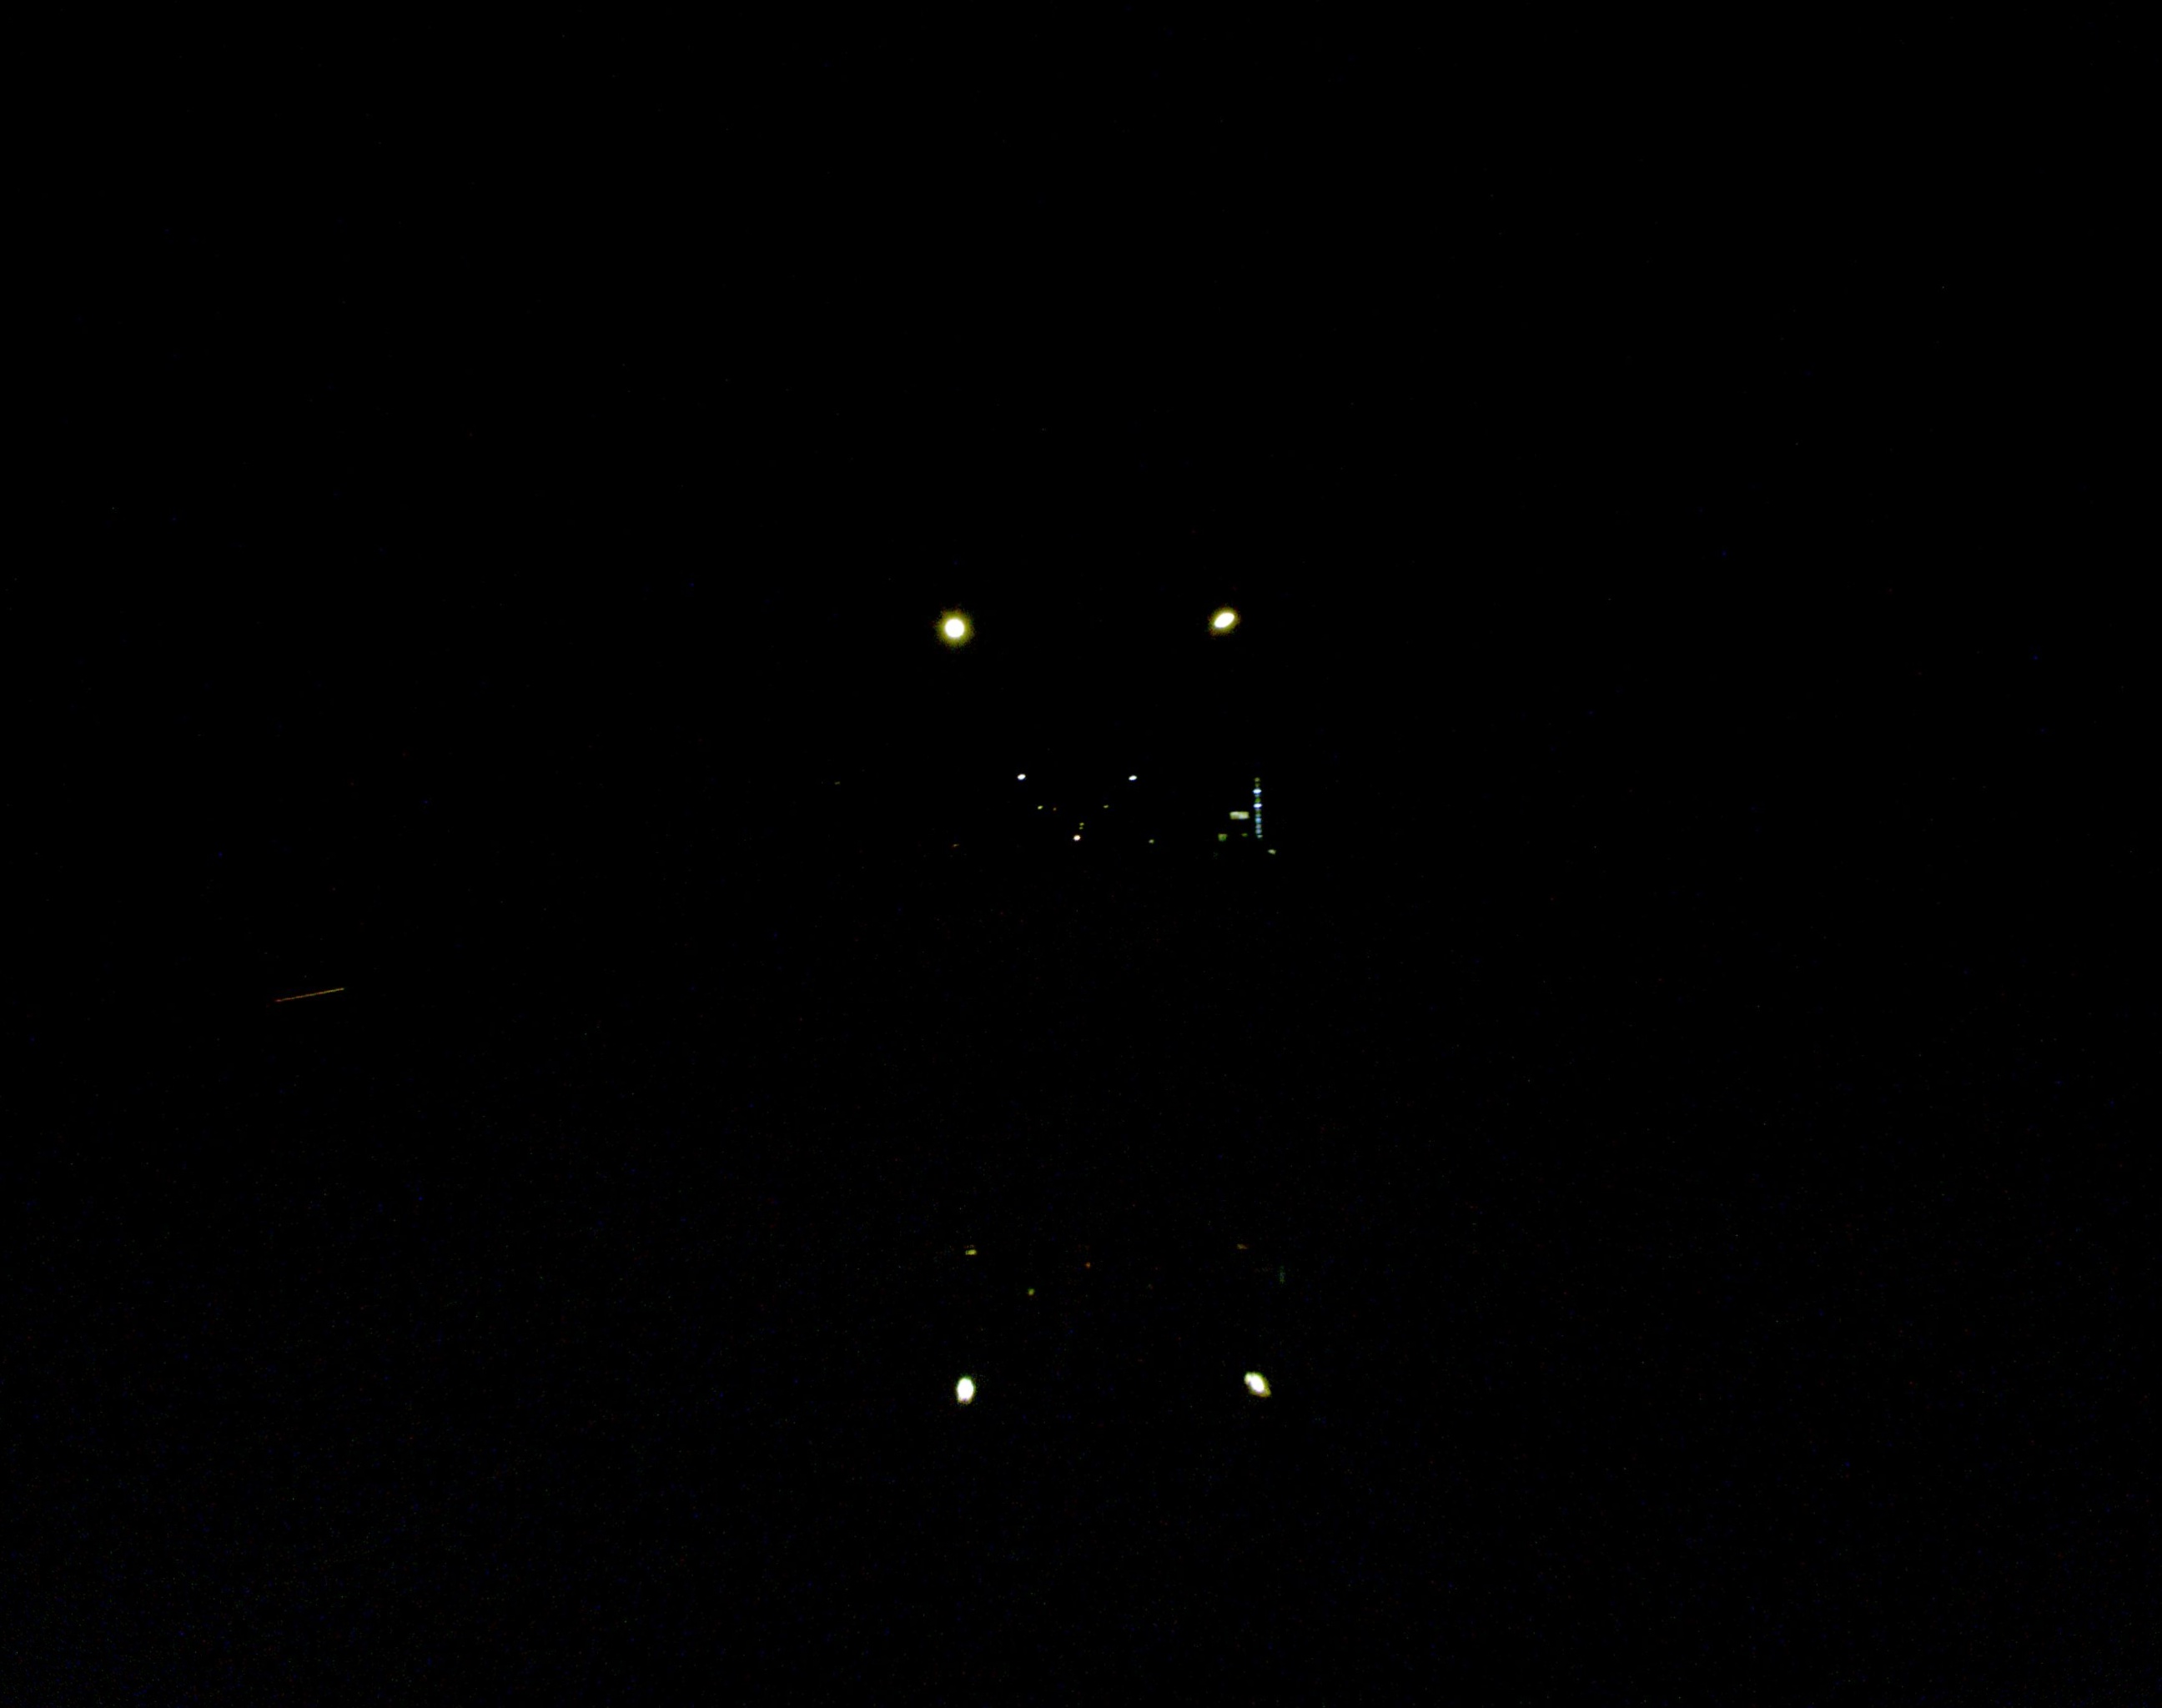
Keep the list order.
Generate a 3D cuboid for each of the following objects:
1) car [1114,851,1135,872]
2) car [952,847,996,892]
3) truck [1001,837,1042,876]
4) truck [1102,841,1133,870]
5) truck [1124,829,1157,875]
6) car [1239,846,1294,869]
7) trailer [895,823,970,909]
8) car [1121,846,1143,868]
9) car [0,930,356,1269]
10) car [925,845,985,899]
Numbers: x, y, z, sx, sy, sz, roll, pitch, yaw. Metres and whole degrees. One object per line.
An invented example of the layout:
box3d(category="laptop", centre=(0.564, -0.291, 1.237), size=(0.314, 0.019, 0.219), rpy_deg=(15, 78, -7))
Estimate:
box3d(category="car", centre=(5.464, 0.961, 96.148), size=(1.999, 2.429, 5.743), rpy_deg=(-4, 0, -2))
box3d(category="car", centre=(-6.680, 0.886, 48.029), size=(1.999, 2.533, 6.023), rpy_deg=(-4, 0, -3))
box3d(category="truck", centre=(-6.520, 0.194, 85.245), size=(2.515, 3.815, 12.660), rpy_deg=(-4, 0, 4))
box3d(category="truck", centre=(4.992, 0.237, 105.252), size=(2.829, 3.610, 10.396), rpy_deg=(-4, 0, -4))
box3d(category="truck", centre=(5.902, -0.317, 77.351), size=(2.644, 4.290, 12.821), rpy_deg=(-1, 1, 2))
box3d(category="car", centre=(15.616, 0.308, 64.112), size=(3.998, 1.455, 1.805), rpy_deg=(-7, 1, -3))
box3d(category="trailer", centre=(-6.344, 0.479, 33.018), size=(2.405, 3.306, 4.360), rpy_deg=(-4, 1, -3))
box3d(category="car", centre=(5.795, 0.339, 86.426), size=(2.145, 2.299, 4.468), rpy_deg=(-4, 1, 0))
box3d(category="car", centre=(-5.870, 1.283, 2.867), size=(1.731, 1.378, 4.675), rpy_deg=(-4, 0, -1))
box3d(category="car", centre=(-6.590, 0.872, 40.526), size=(1.945, 2.533, 6.645), rpy_deg=(-4, 0, 0))
